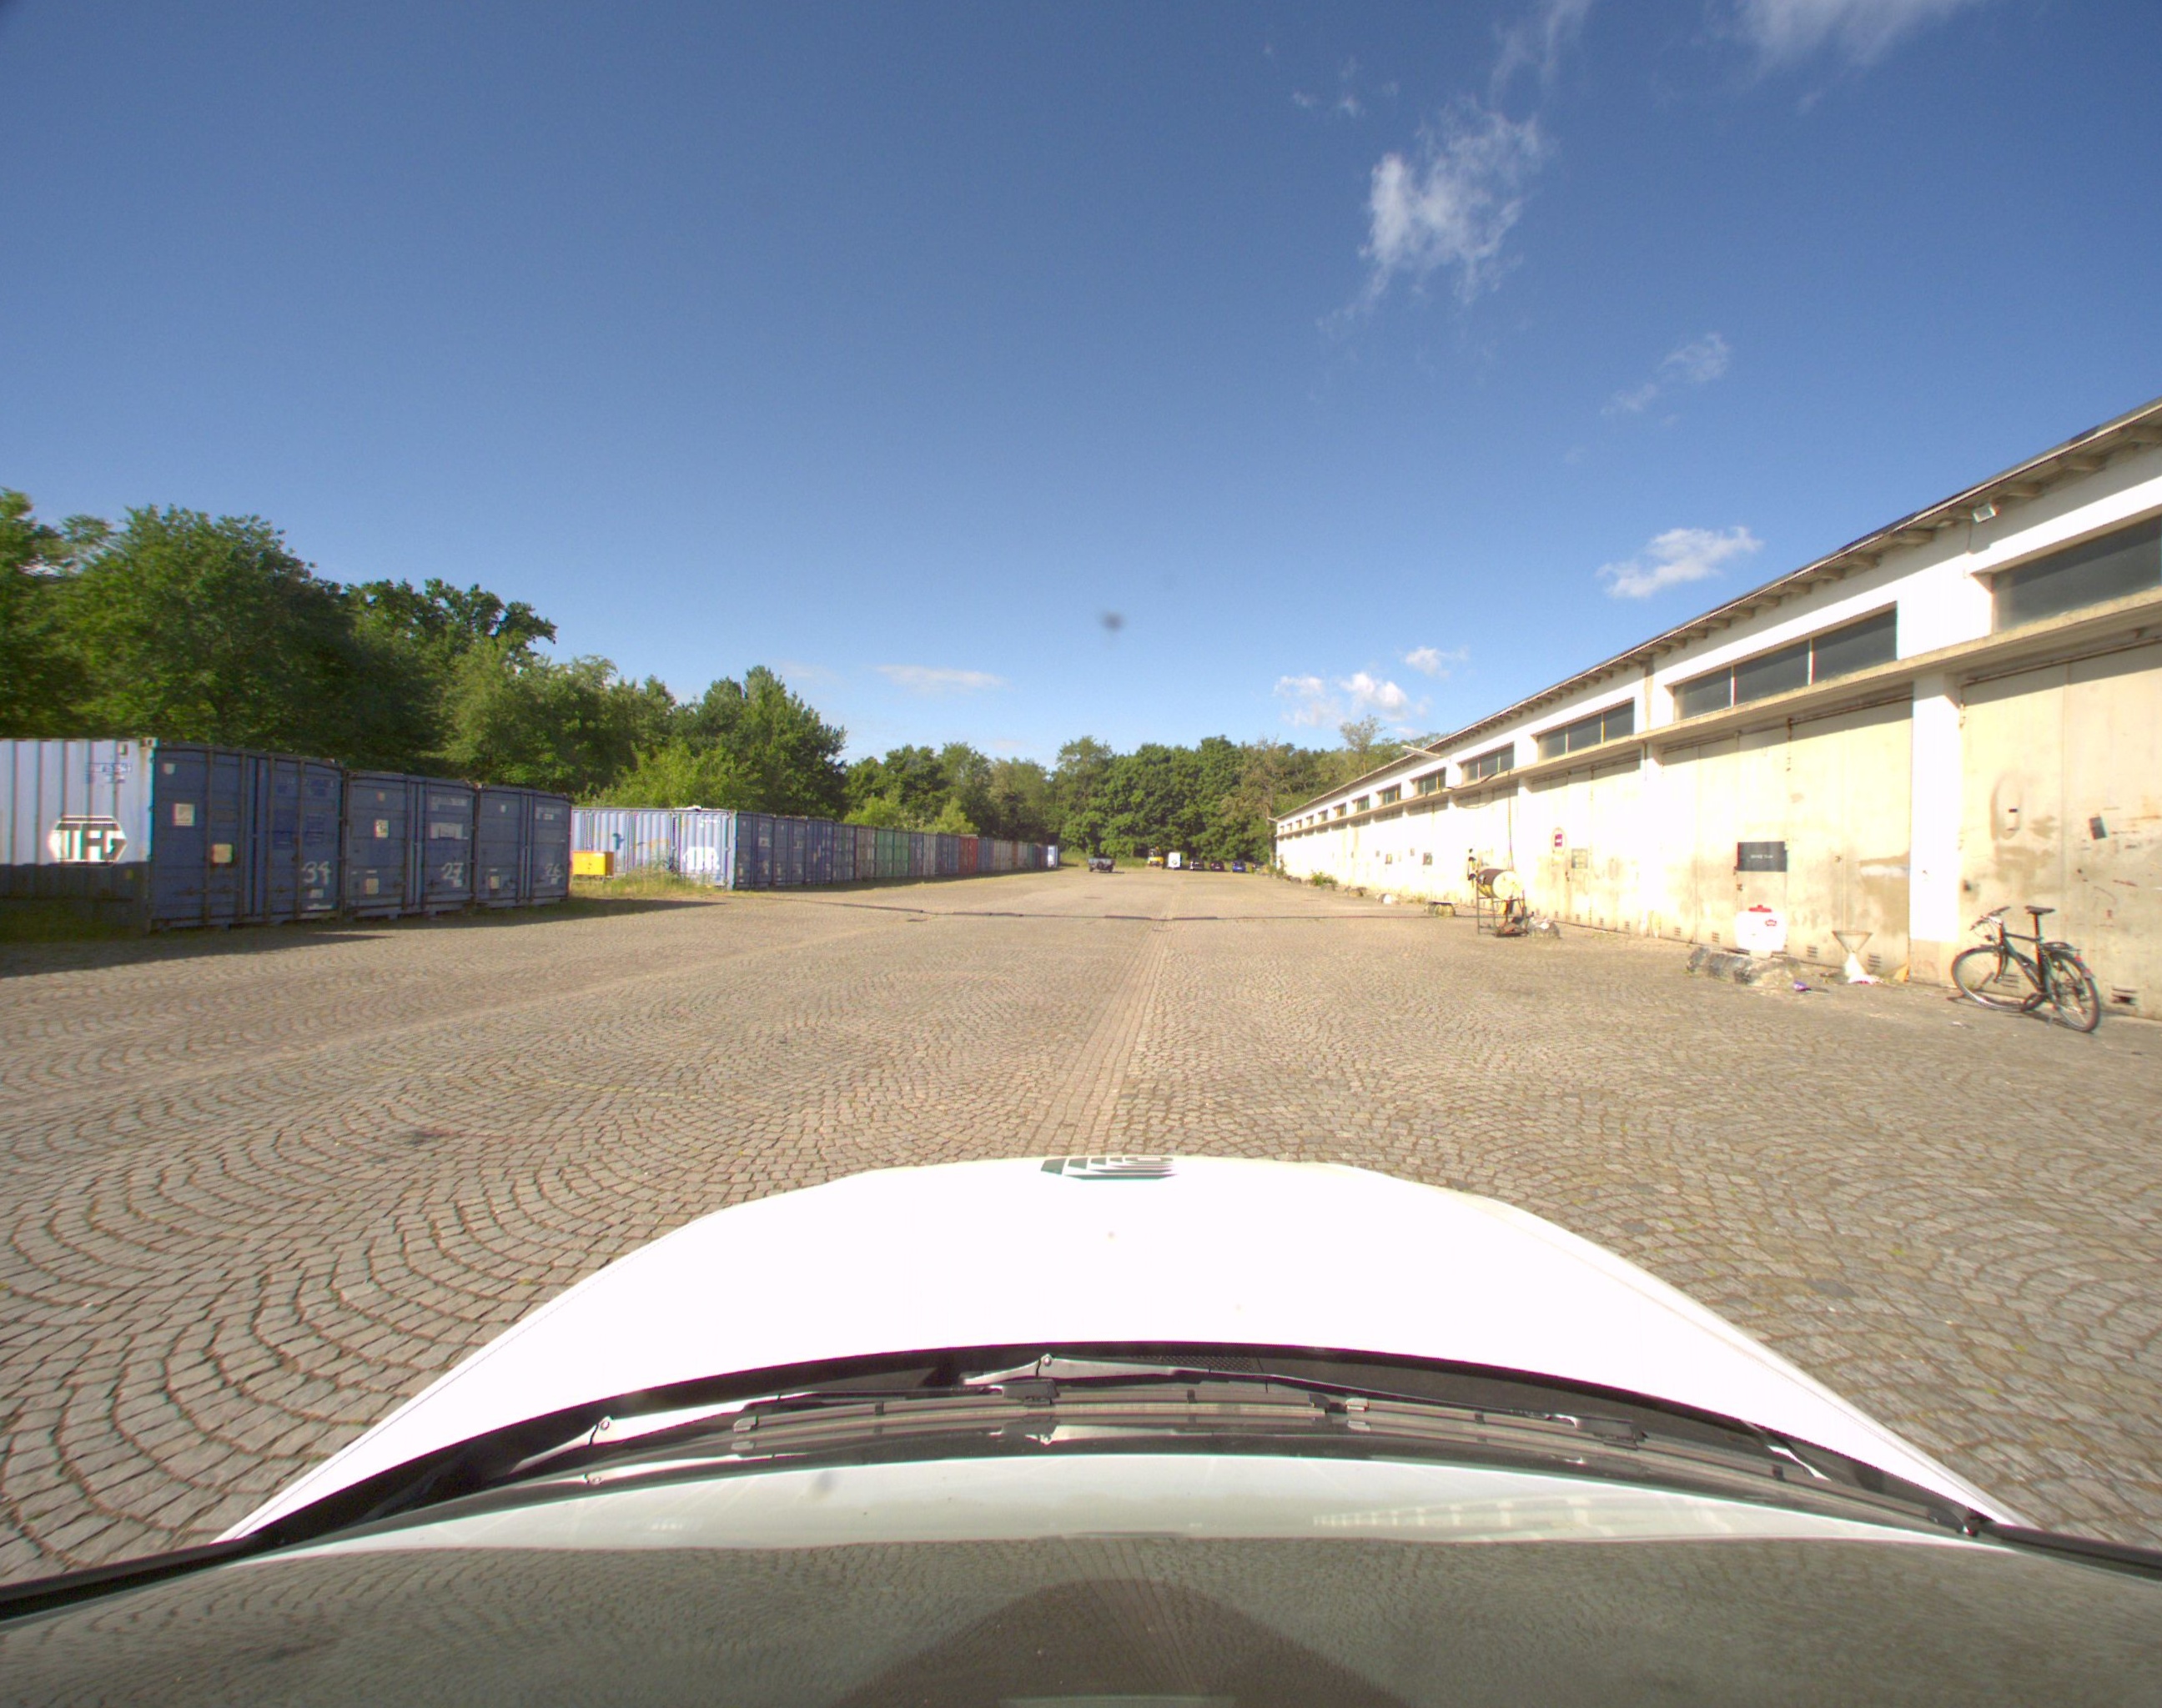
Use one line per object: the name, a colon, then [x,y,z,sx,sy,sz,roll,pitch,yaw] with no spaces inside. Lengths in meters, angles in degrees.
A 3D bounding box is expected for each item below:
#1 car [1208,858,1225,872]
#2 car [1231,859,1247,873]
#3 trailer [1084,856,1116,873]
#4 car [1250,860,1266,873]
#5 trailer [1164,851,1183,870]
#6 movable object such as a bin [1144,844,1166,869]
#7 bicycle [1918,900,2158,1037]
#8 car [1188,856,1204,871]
car: [16.557,1.327,99.707,1.854,1.470,4.304,3,1,7]
car: [19.281,1.454,99.317,1.732,1.436,4.197,3,1,12]
trailer: [1.951,1.073,83.218,2.692,1.465,6.258,3,1,6]
car: [21.887,1.492,100.425,1.732,1.436,4.199,3,1,14]
trailer: [11.702,0.758,102.325,2.181,2.094,5.763,3,1,7]
movable object such as a bin: [9.441,0.298,103.200,2.293,2.896,5.764,3,1,8]
bicycle: [9.102,1.022,7.866,0.659,1.068,1.833,2,-1,19]
car: [14.054,1.160,99.638,1.854,1.589,4.304,3,1,7]
